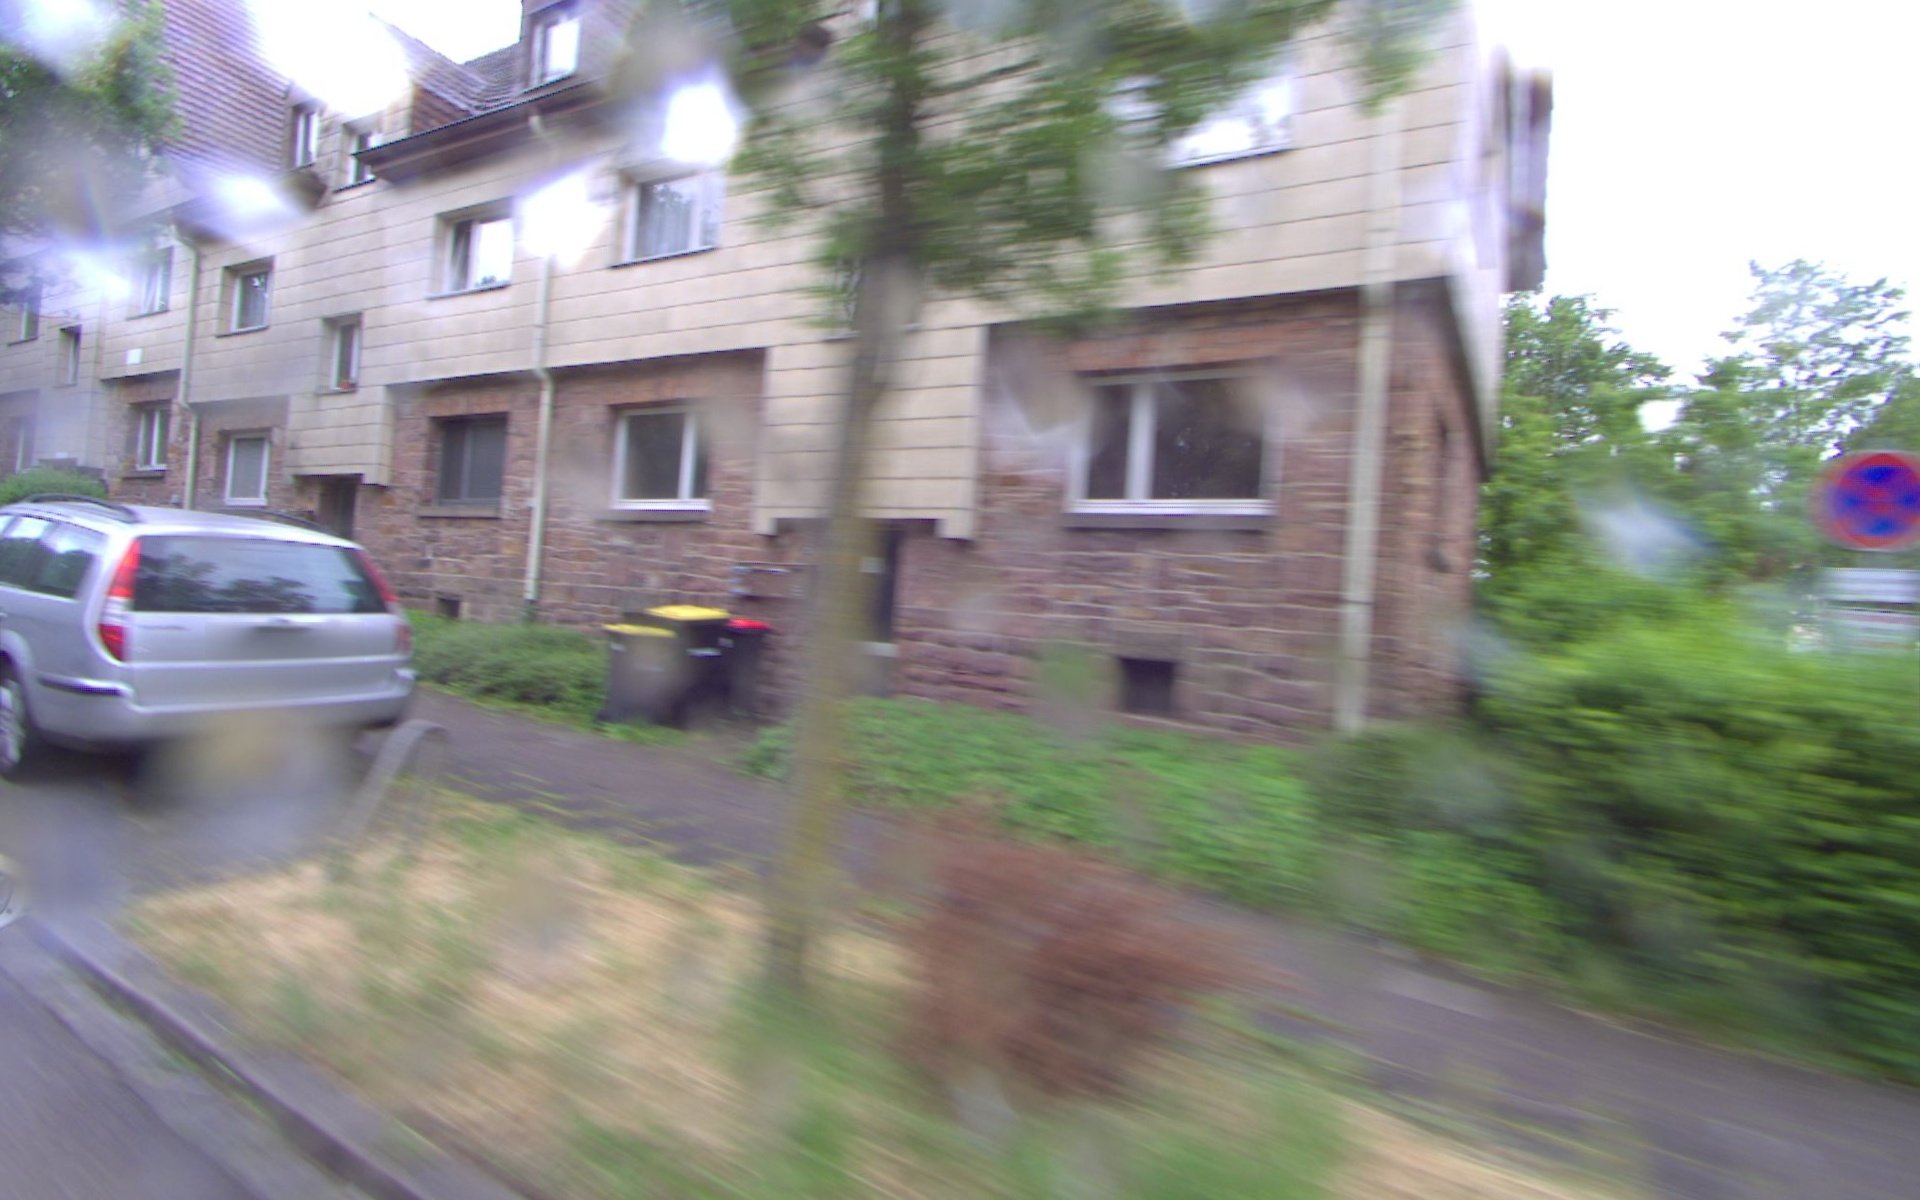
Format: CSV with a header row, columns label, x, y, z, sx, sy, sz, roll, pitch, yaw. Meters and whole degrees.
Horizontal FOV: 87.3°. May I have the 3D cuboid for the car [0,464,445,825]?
label,x,y,z,sx,sy,sz,roll,pitch,yaw
car,-5.501,0.005,6.572,4.566,1.606,1.701,8,4,33

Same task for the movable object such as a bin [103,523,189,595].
label,x,y,z,sx,sy,sz,roll,pitch,yaw
movable object such as a bin,-12.910,-0.652,15.956,0.926,0.976,0.701,7,-1,32
